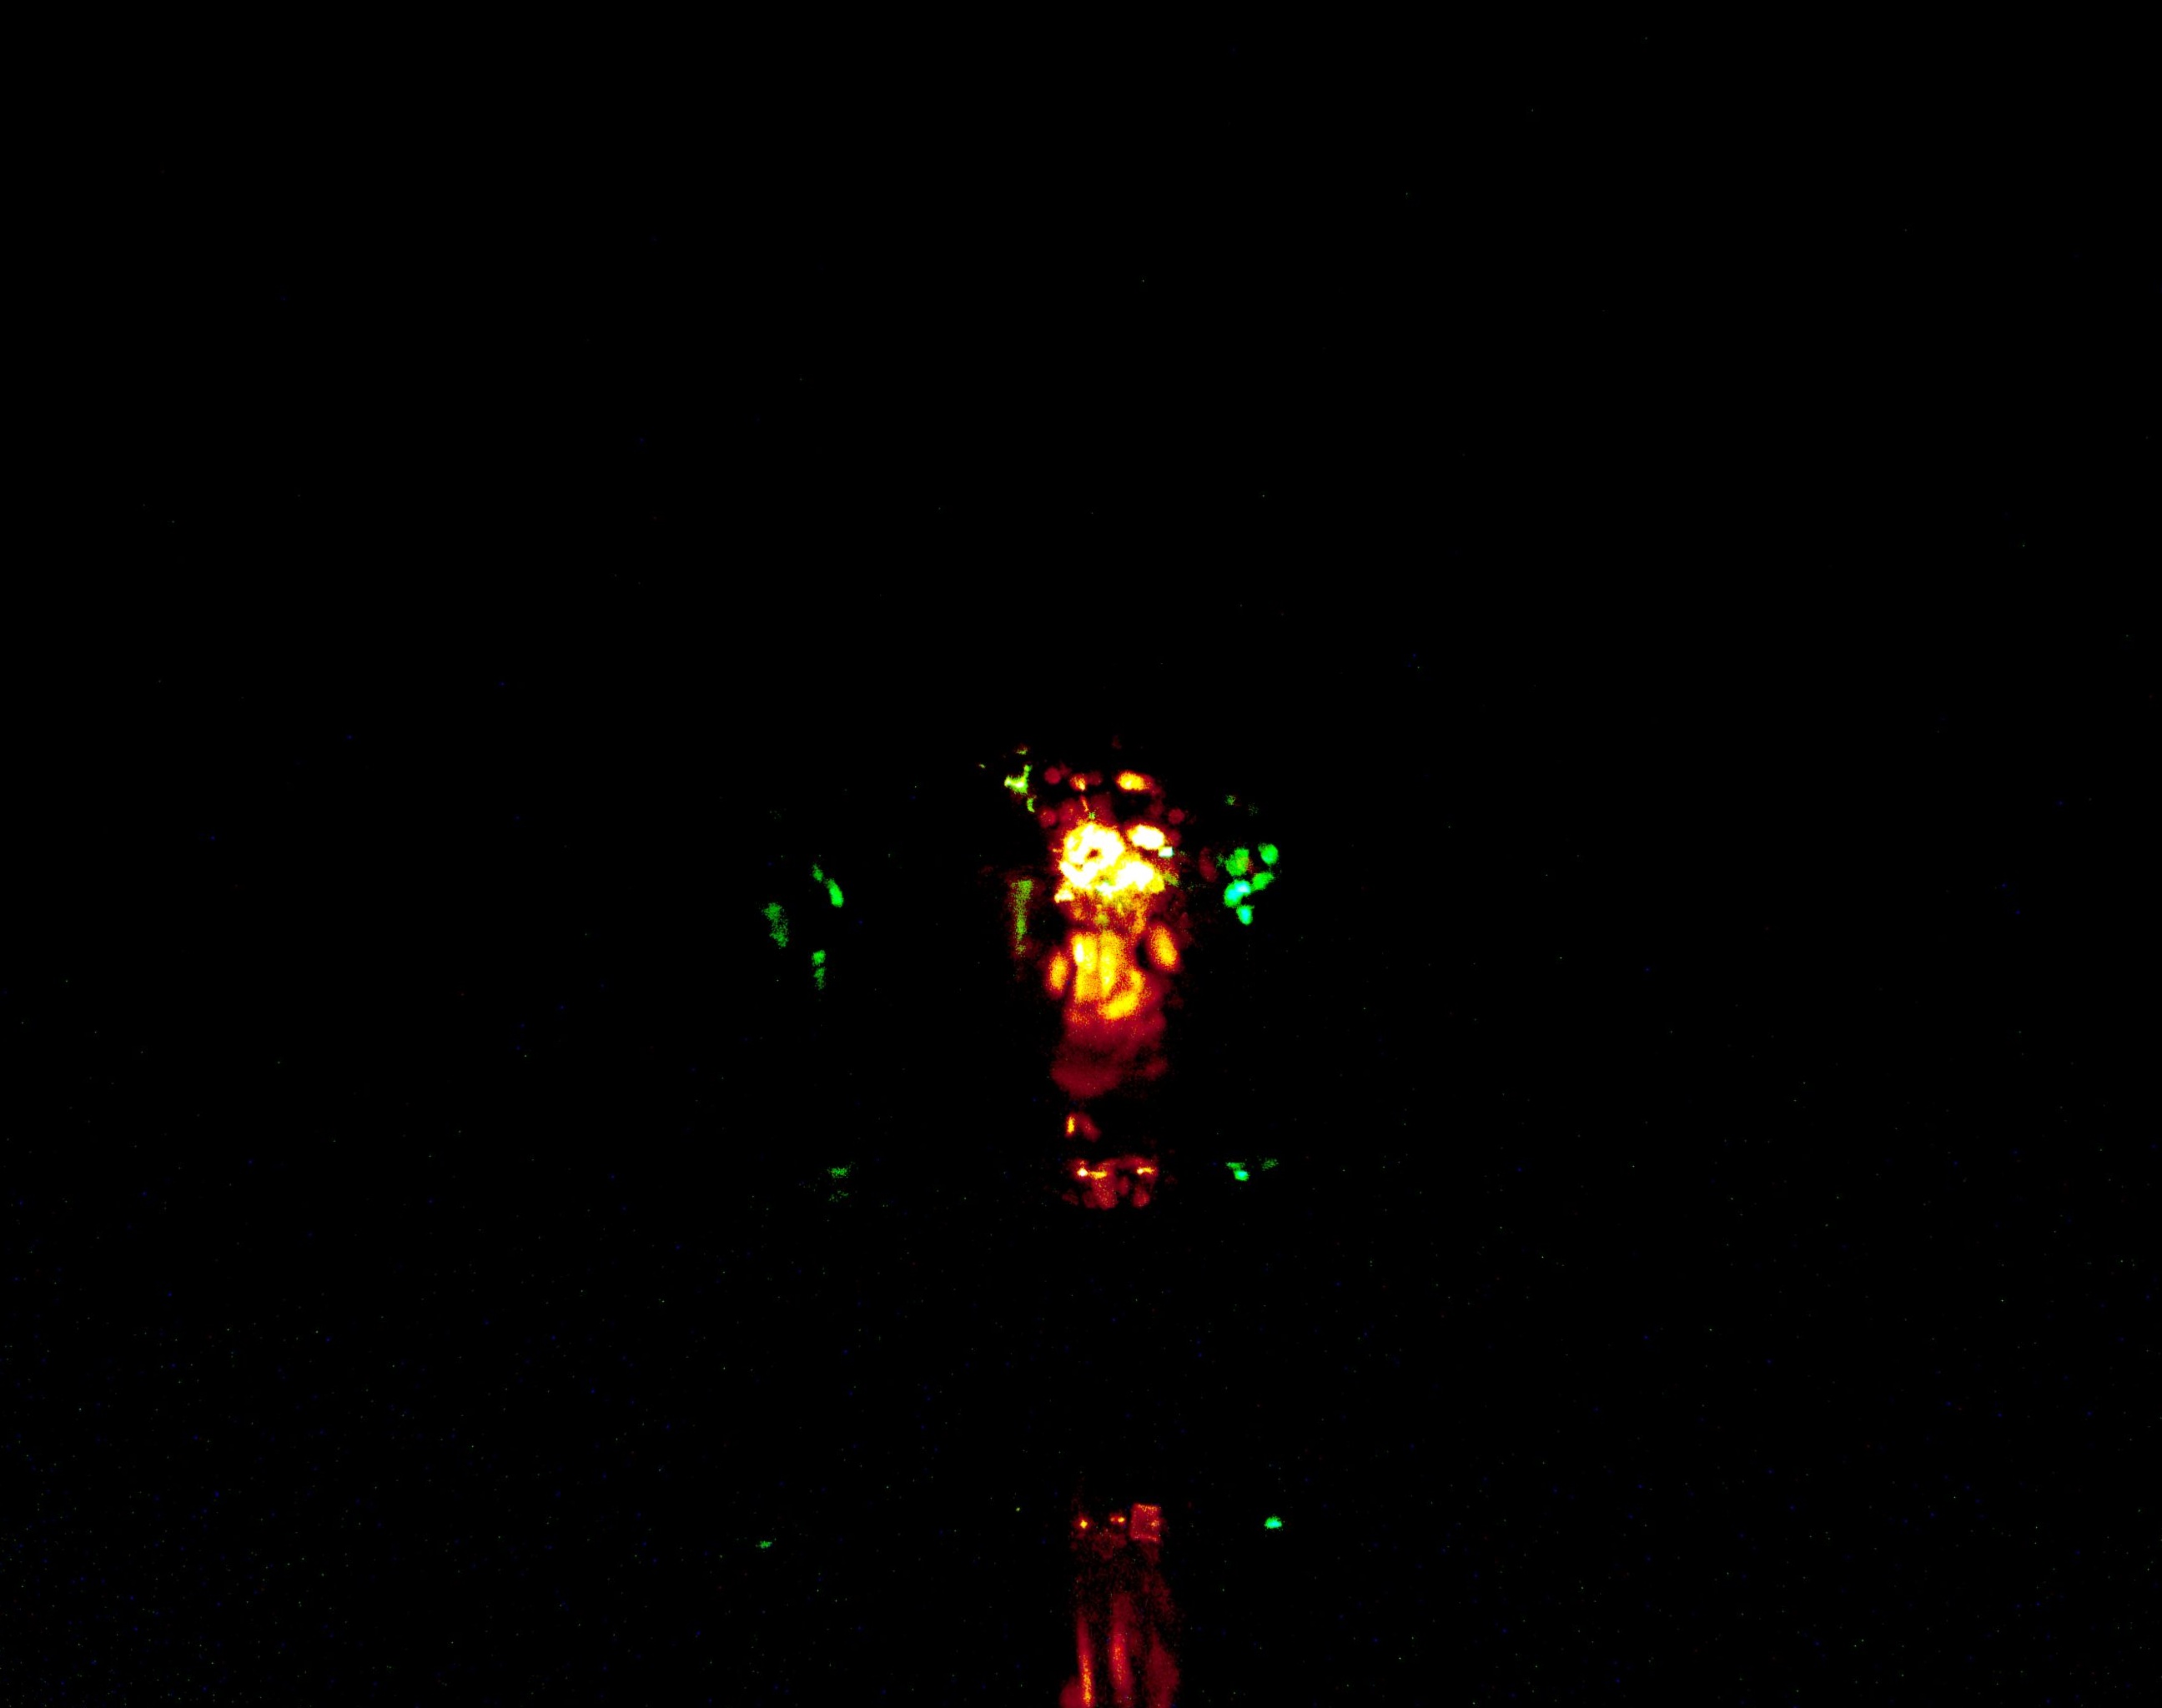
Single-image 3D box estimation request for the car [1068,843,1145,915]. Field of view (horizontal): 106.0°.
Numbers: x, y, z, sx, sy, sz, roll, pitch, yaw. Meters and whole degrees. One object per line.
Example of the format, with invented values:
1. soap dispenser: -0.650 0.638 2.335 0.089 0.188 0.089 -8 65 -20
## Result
1. car: 0.732 0.584 21.107 1.783 1.681 3.908 -1 0 4
